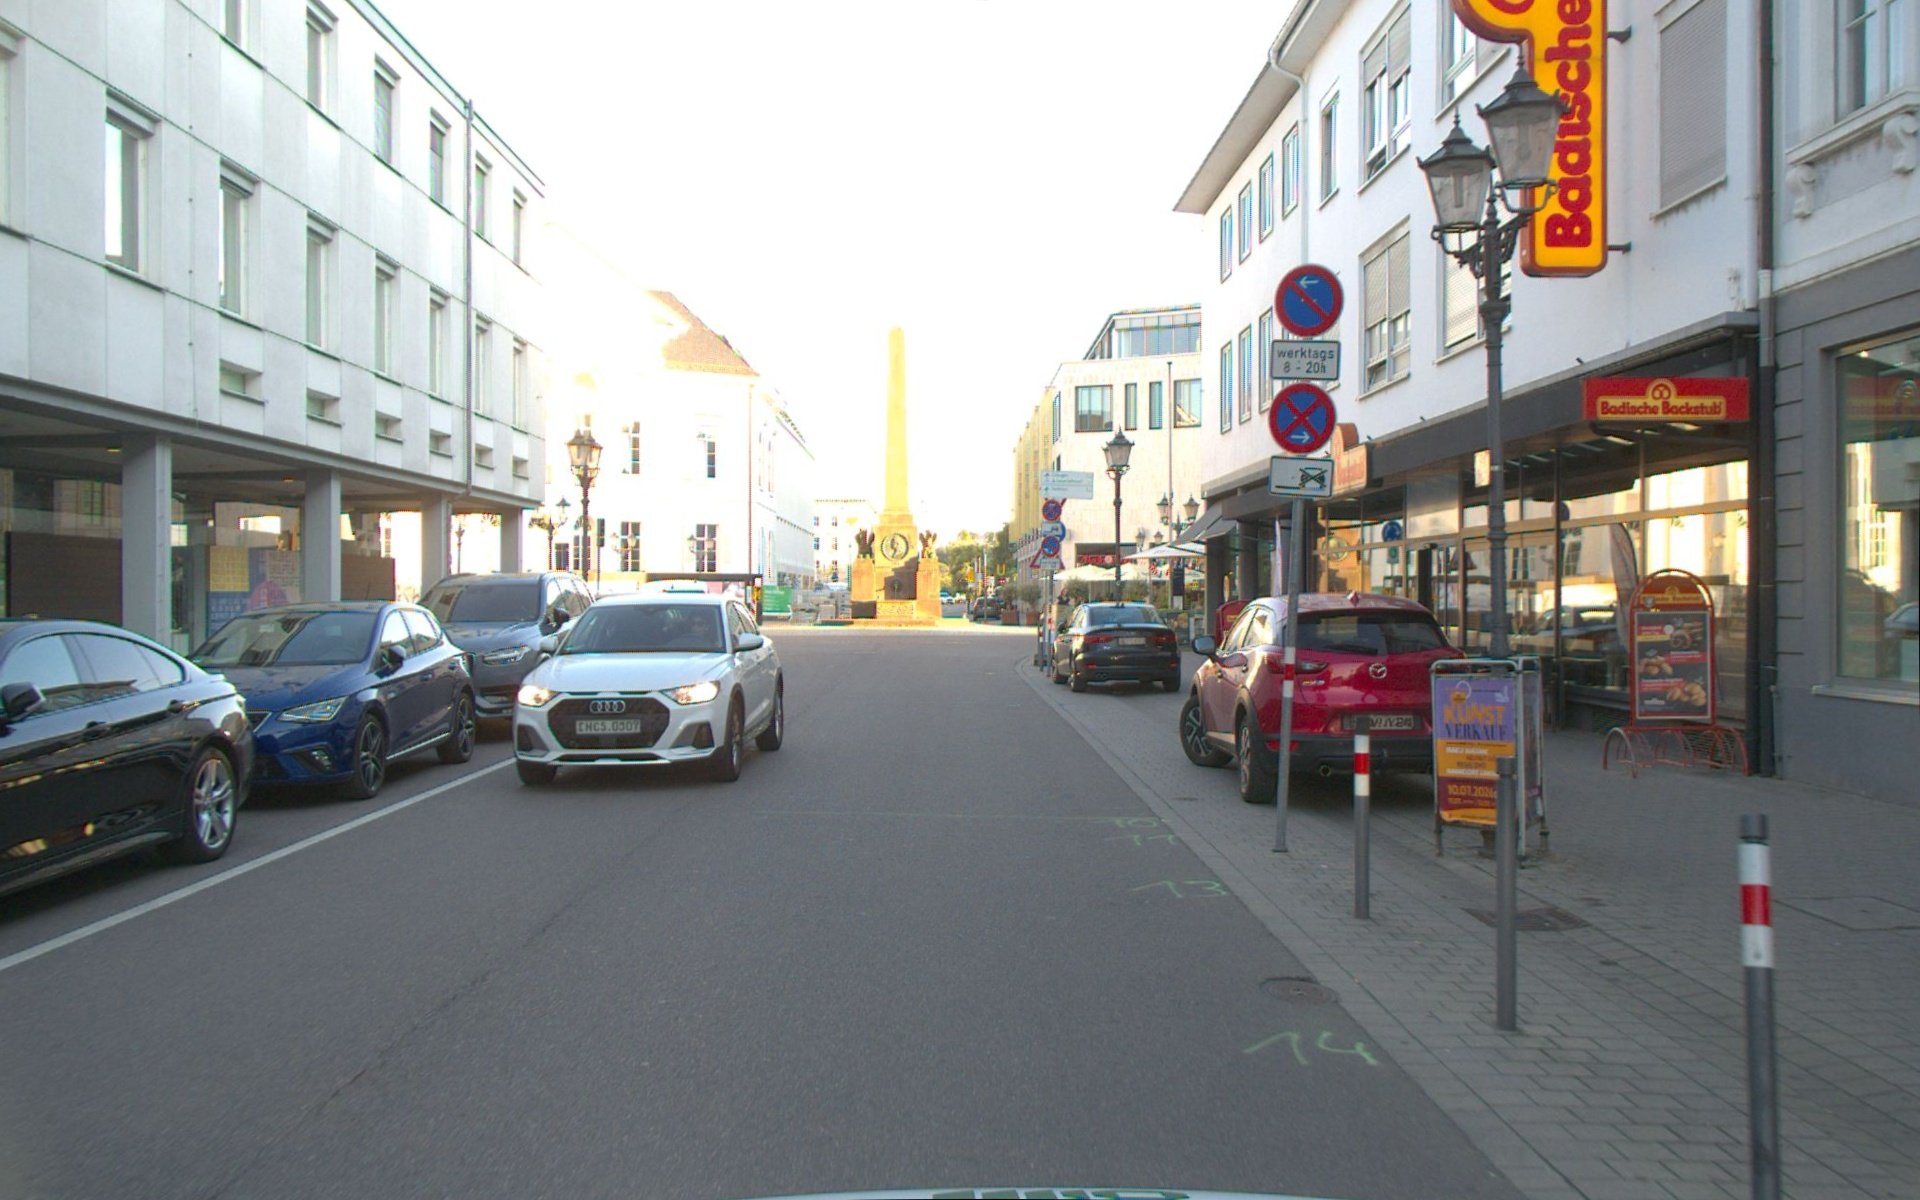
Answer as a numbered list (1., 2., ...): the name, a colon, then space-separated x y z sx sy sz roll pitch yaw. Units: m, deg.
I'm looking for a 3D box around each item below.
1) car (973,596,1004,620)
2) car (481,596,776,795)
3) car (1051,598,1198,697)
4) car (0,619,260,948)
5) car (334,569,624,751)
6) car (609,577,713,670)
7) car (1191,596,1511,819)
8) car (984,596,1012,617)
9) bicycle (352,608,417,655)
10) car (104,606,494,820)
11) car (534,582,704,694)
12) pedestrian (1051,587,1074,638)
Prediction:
1. car: 1.872 0.513 108.912 1.952 1.489 4.000 0 0 1
2. car: -2.664 0.702 14.180 1.728 1.447 4.000 0 0 0
3. car: 2.628 0.723 27.320 1.766 1.489 4.114 0 0 -4
4. car: -5.160 0.817 7.877 1.953 1.378 4.000 0 0 0
5. car: -5.248 0.586 18.728 1.953 1.758 4.515 -1 0 0
6. car: -6.301 0.451 35.282 1.956 1.847 4.776 0 0 -8
7. car: 2.992 0.746 13.412 1.723 1.549 3.677 0 0 0
8. car: 2.698 0.450 117.395 1.952 1.489 4.000 0 0 1
9. bicycle: -13.013 0.692 37.485 0.718 1.001 2.334 1 0 -2
10. car: -5.146 0.787 13.470 1.639 1.424 3.999 -1 0 -1
11. car: -5.490 0.565 27.126 1.953 1.691 4.000 0 0 0
12. pedestrian: 3.367 0.396 54.470 0.676 1.676 0.695 0 0 -1
